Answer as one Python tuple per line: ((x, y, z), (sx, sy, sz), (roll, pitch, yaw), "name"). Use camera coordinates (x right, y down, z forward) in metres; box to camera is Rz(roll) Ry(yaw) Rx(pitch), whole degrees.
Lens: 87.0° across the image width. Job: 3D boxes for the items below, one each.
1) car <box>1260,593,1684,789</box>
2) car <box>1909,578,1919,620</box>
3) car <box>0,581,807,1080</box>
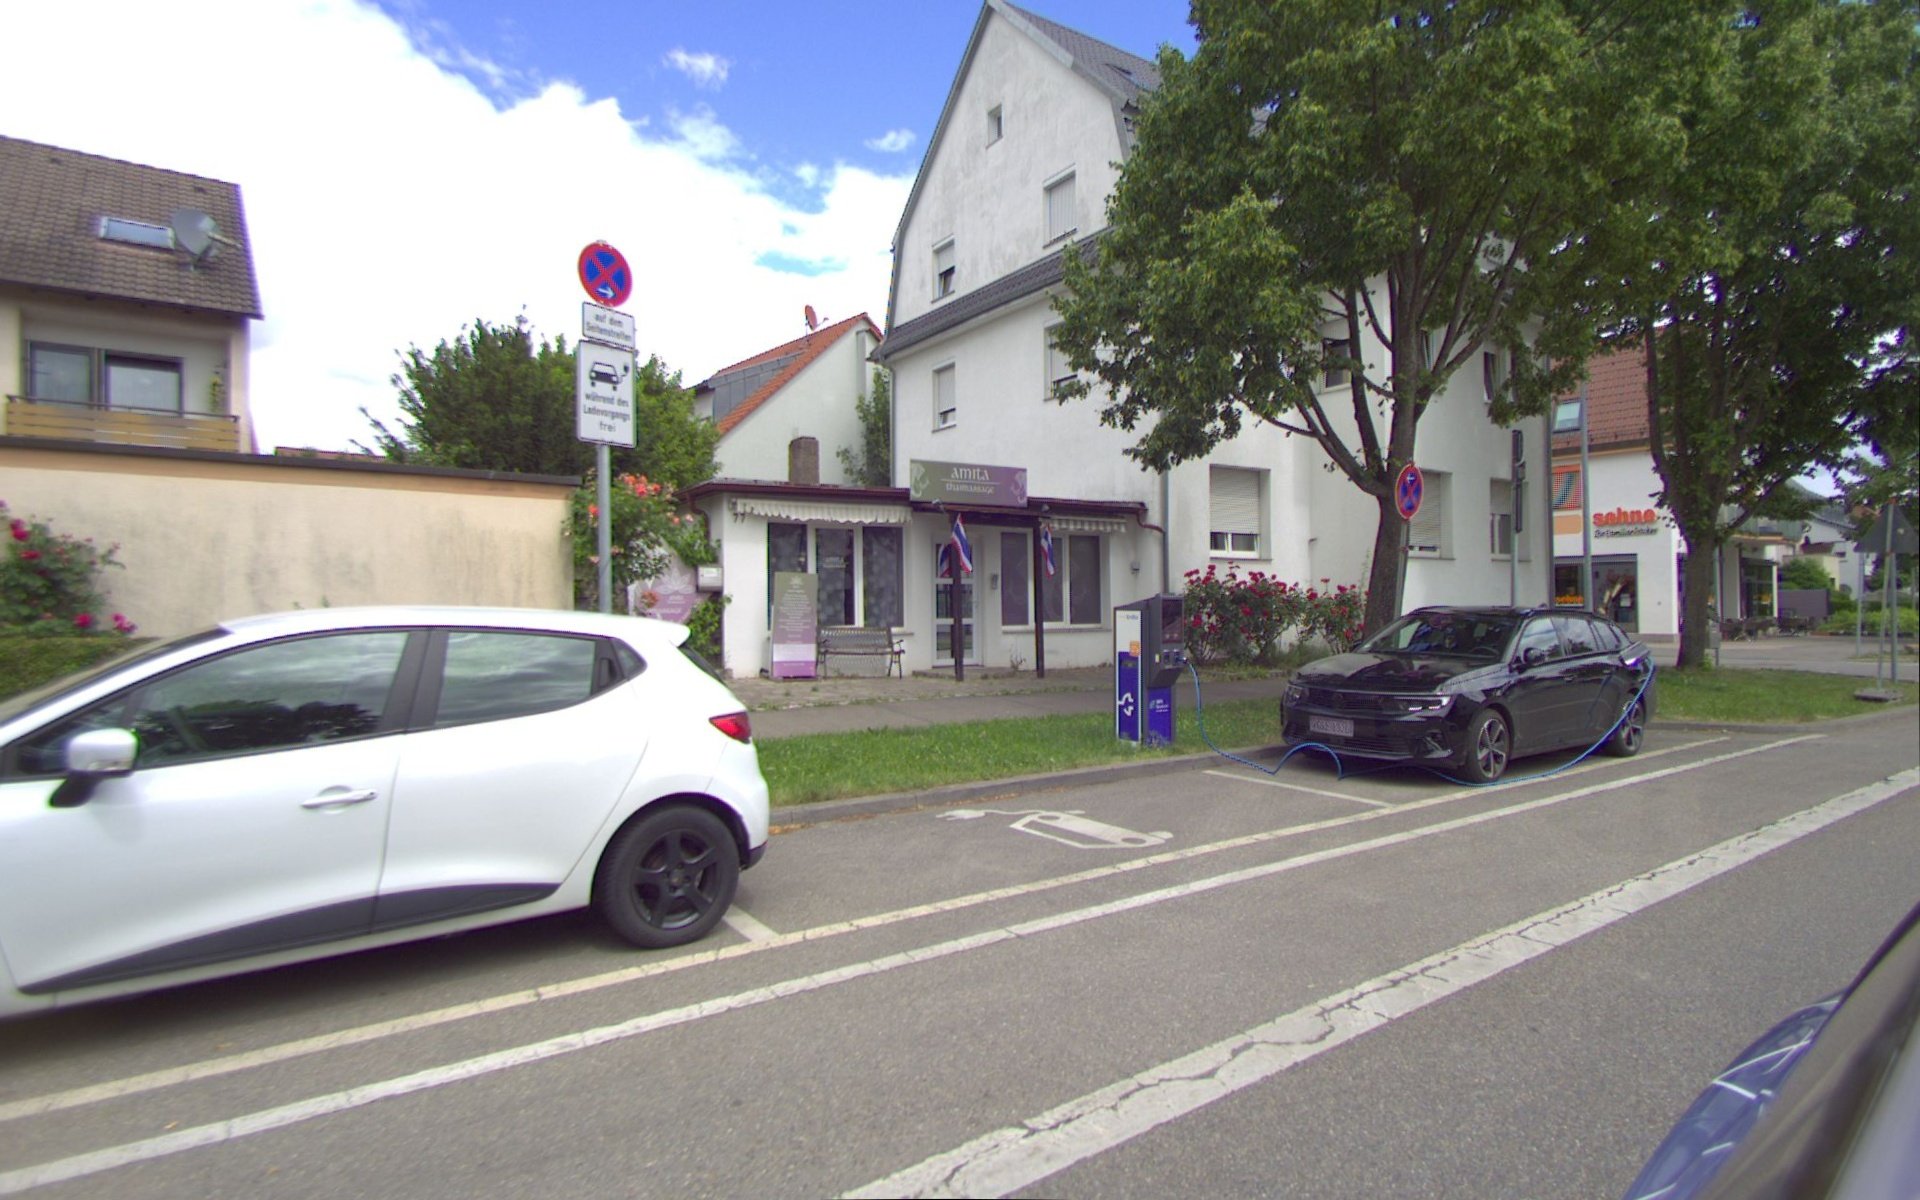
((5.018, 0.683, 9.664), (4.529, 1.473, 1.711), (0, 0, -35), "car")
((62.459, -0.024, 62.242), (1.961, 2.625, 5.728), (1, -1, -38), "car")
((-2.766, 0.680, 4.126), (3.926, 1.481, 1.677), (0, 0, -37), "car")
